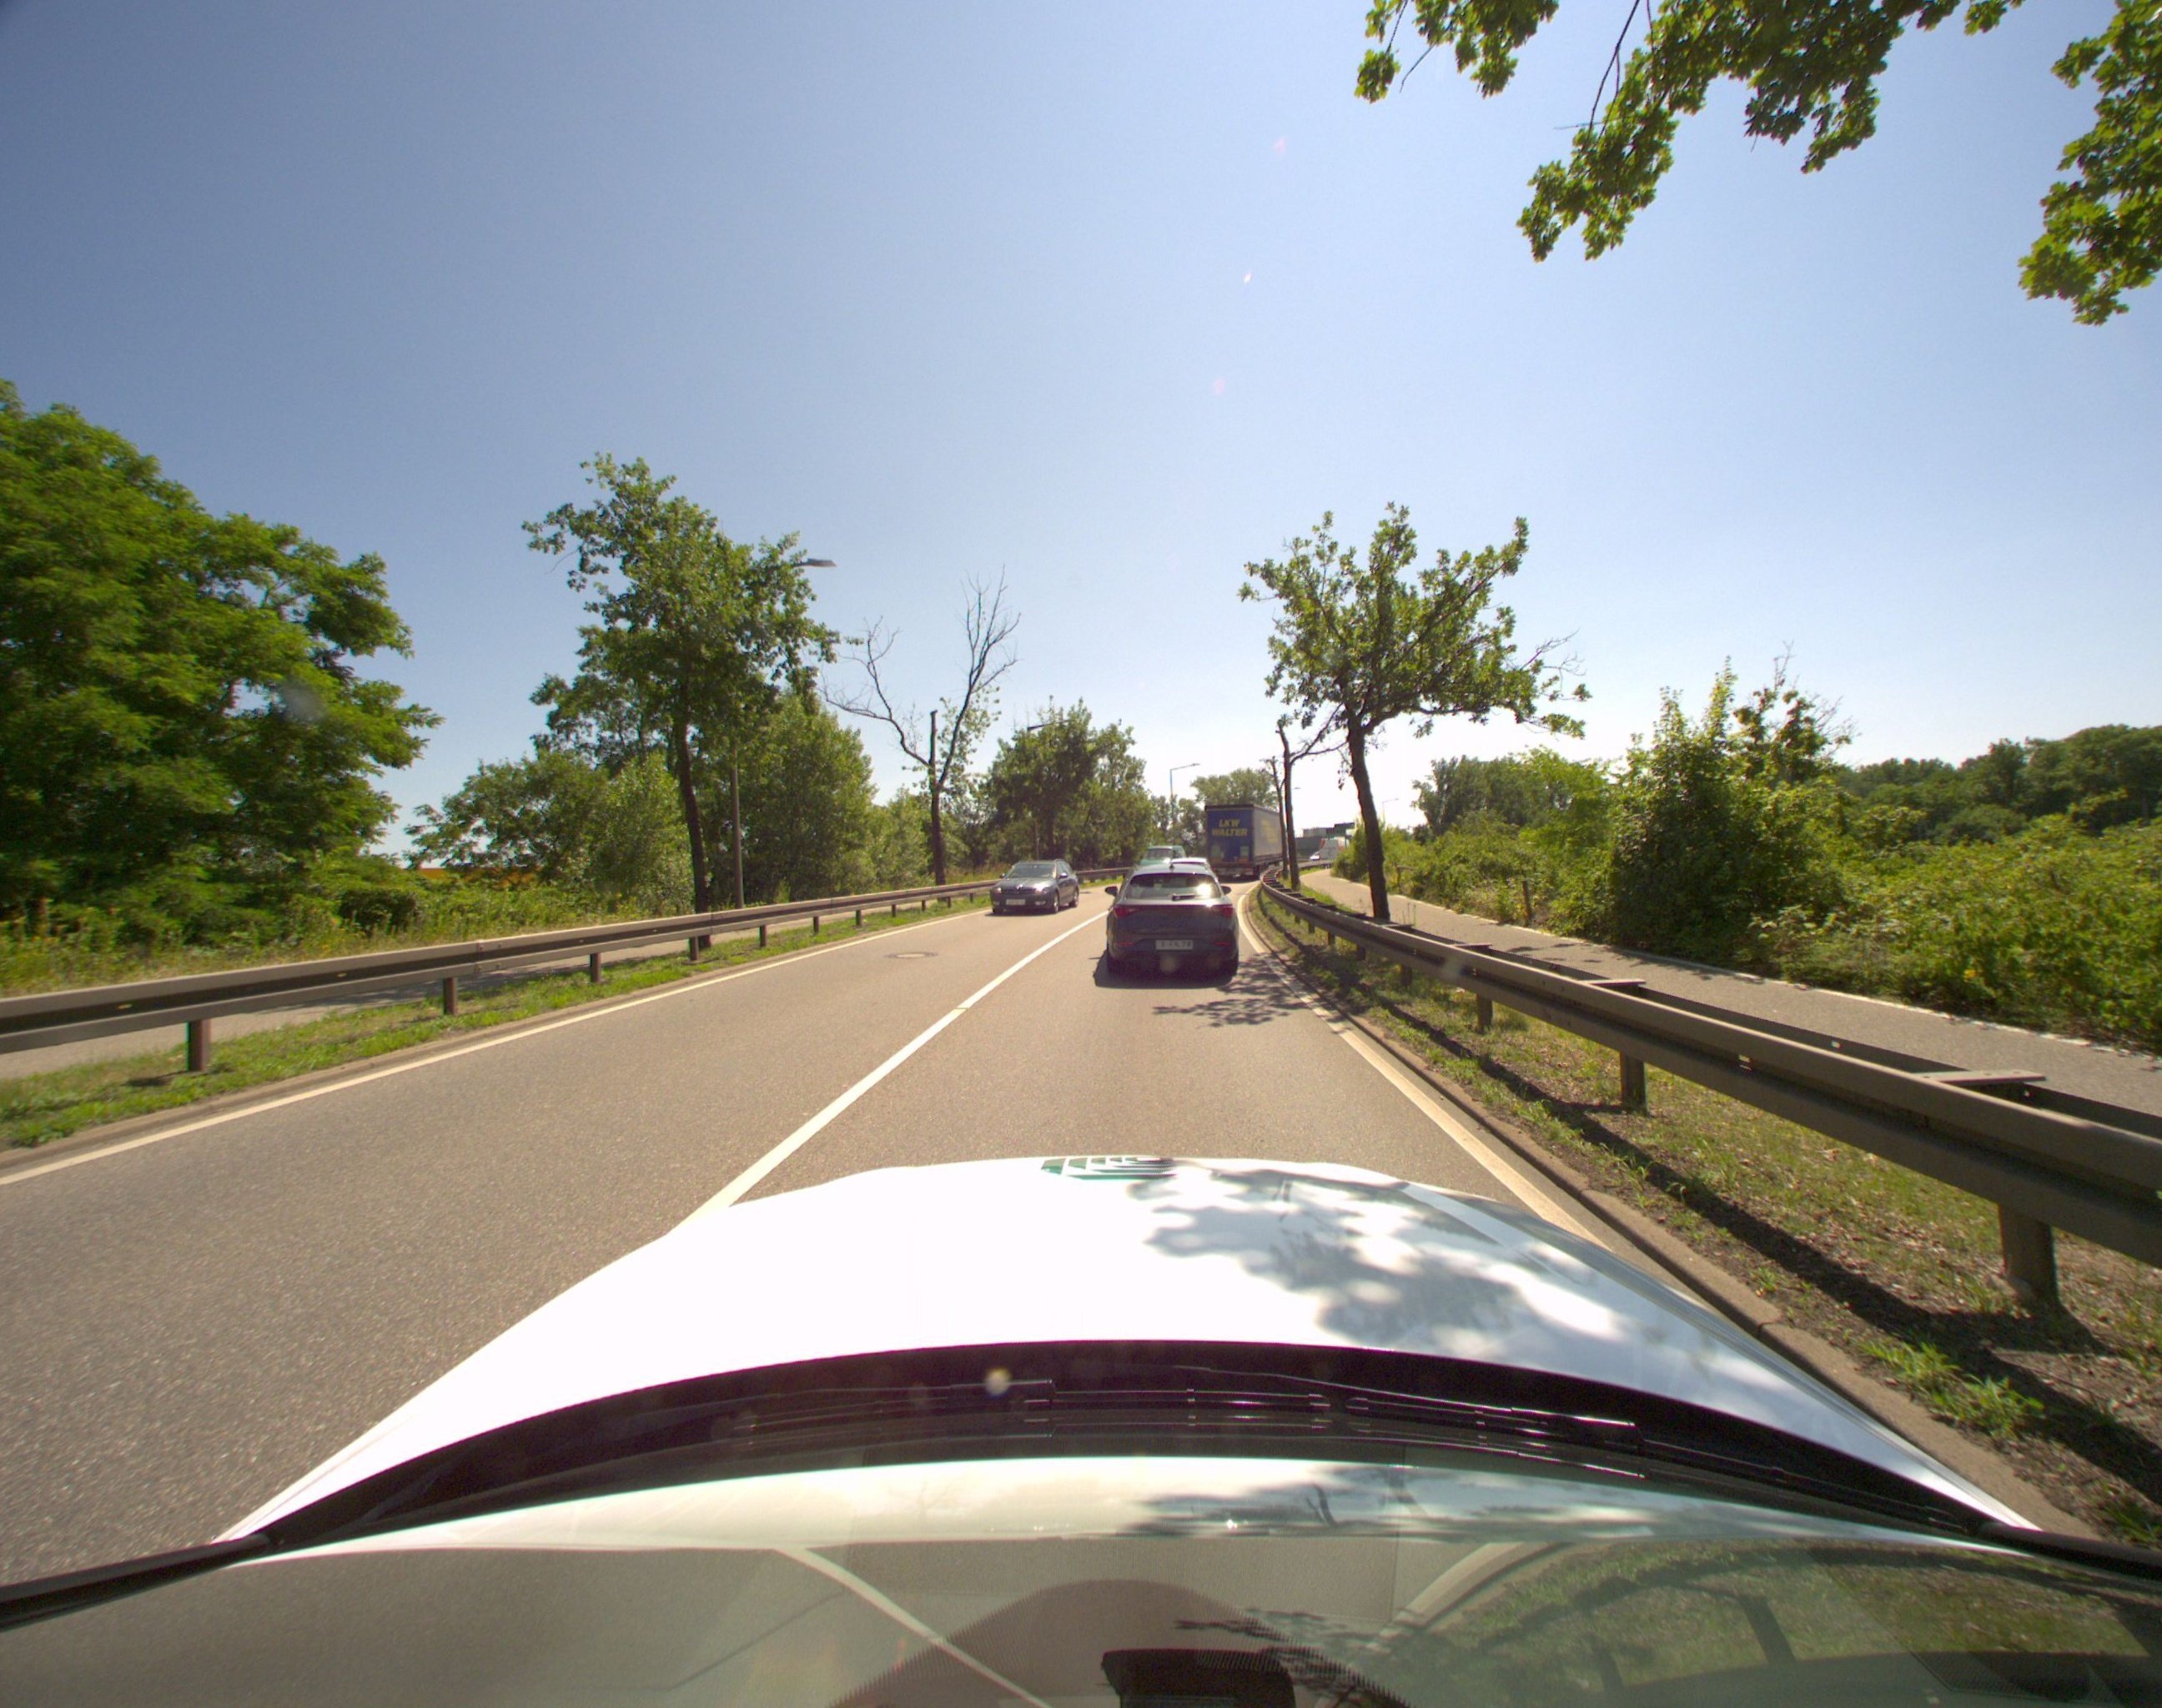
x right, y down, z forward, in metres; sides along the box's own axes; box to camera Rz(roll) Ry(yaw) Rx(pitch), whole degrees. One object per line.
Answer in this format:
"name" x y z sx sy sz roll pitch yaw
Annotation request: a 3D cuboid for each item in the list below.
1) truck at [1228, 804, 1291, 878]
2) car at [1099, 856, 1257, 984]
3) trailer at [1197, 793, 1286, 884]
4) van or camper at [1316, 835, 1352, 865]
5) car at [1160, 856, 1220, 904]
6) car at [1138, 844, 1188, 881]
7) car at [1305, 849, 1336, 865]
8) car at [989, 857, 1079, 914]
"truck" 12.055 -0.783 54.447 3.144 4.585 7.433 -1 -1 20
"car" 1.214 0.801 11.751 1.839 1.499 3.758 -1 0 0
"trailer" 9.768 -0.789 48.103 3.108 4.614 13.013 0 0 20
"van or camper" 23.783 -0.383 76.461 2.182 2.711 5.961 -2 0 27
"car" 3.655 0.797 26.823 1.582 1.461 3.558 0 0 14
"car" 4.649 0.470 45.694 1.815 1.938 4.797 -1 0 17
"car" 25.277 0.309 85.925 1.995 1.543 3.784 -1 0 34
"car" -1.223 0.833 23.388 1.734 1.447 4.526 -1 0 8
